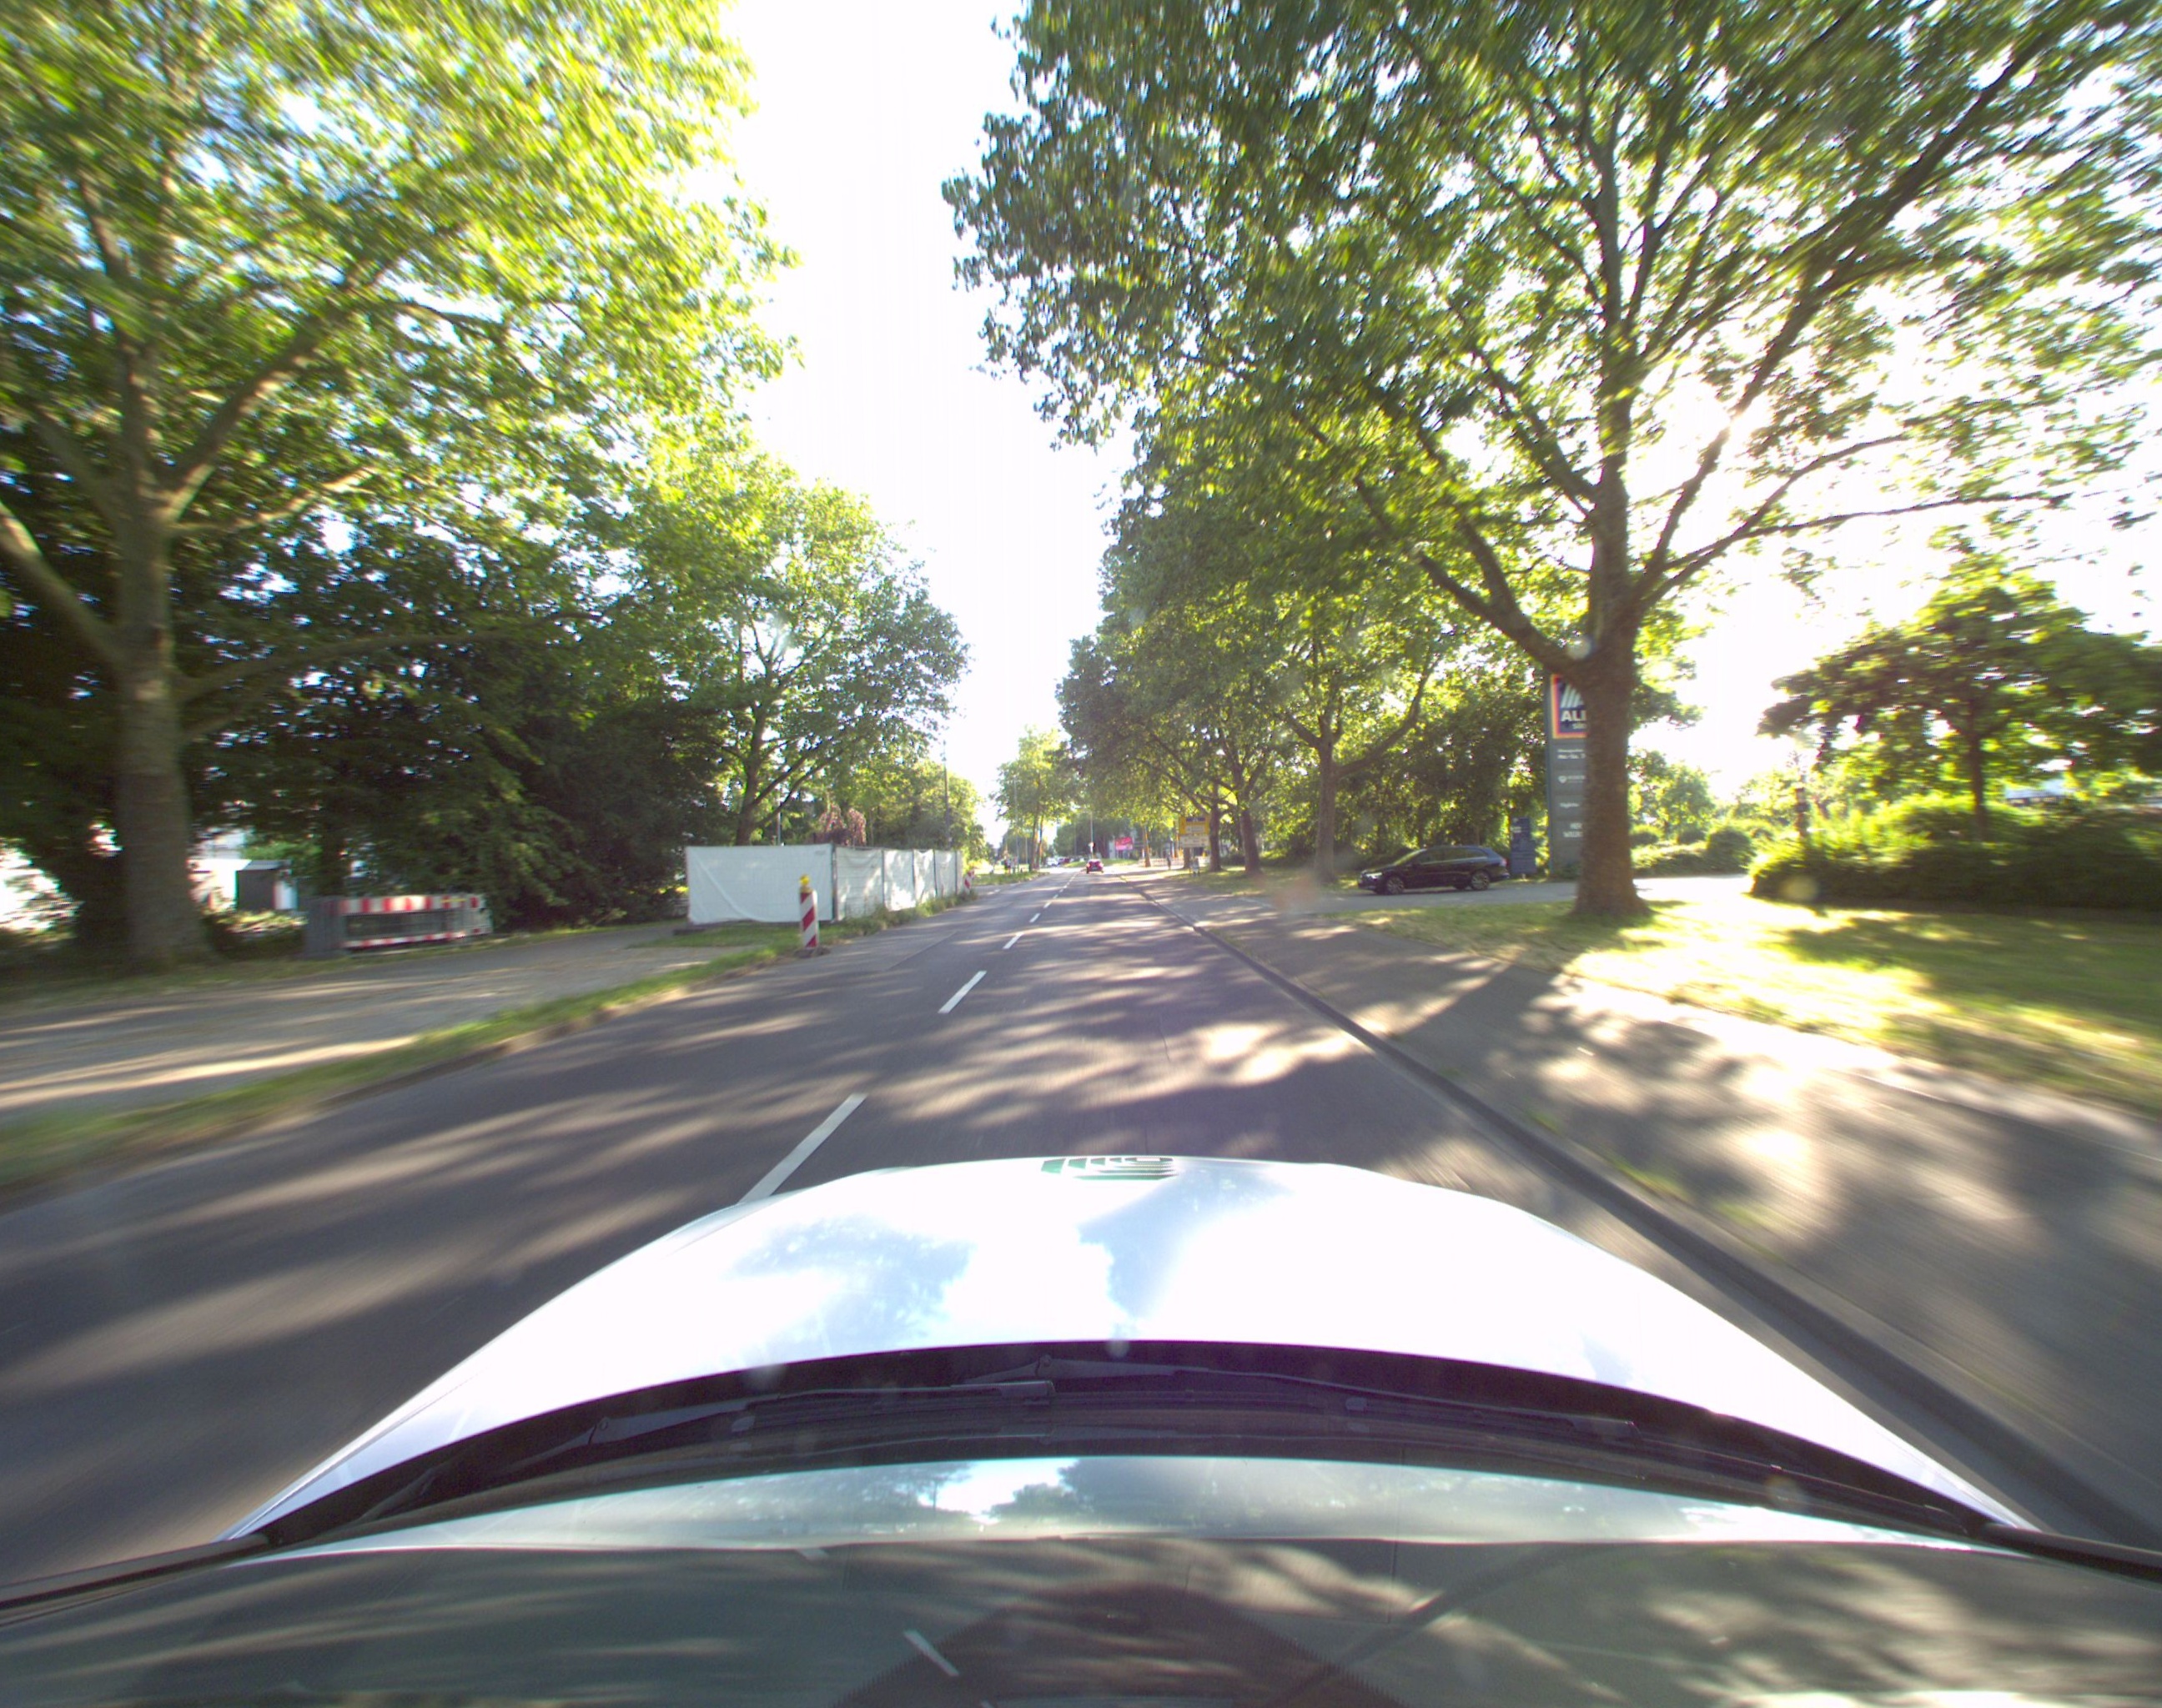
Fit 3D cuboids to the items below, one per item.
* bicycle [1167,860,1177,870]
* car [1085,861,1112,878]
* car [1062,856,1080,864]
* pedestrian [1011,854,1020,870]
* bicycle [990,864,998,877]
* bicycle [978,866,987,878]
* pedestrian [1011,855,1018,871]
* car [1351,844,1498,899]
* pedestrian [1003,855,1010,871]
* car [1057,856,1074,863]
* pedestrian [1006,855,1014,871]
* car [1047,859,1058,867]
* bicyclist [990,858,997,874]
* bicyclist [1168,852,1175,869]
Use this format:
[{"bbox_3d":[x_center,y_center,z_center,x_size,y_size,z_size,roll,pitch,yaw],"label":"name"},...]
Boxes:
[{"bbox_3d":[9.624,1.194,86.009,0.767,0.964,2.174,-5,0,1],"label":"bicycle"},{"bbox_3d":[1.883,1.585,85.328,1.826,1.605,3.878,-3,0,15],"label":"car"},{"bbox_3d":[-2.455,1.416,201.214,4.011,1.746,1.778,-2,1,-29],"label":"car"},{"bbox_3d":[-7.291,0.935,90.777,0.745,1.739,0.852,-3,0,2],"label":"pedestrian"},{"bbox_3d":[-9.197,1.728,85.939,0.577,1.245,2.107,-4,1,0],"label":"bicycle"},{"bbox_3d":[-10.628,1.919,88.037,0.577,1.186,2.032,-8,0,0],"label":"bicycle"},{"bbox_3d":[-7.283,0.992,89.375,0.630,1.637,0.576,-3,0,1],"label":"pedestrian"},{"bbox_3d":[11.037,0.550,26.360,3.970,1.443,1.762,-4,0,3],"label":"car"},{"bbox_3d":[-8.297,1.050,90.767,0.663,1.739,0.752,-3,0,2],"label":"pedestrian"},{"bbox_3d":[-3.849,1.405,203.901,4.011,1.746,1.778,-2,1,-29],"label":"car"},{"bbox_3d":[-7.837,0.960,90.046,0.630,1.739,0.665,-3,0,2],"label":"pedestrian"},{"bbox_3d":[-6.181,1.931,176.703,1.990,1.578,3.993,-3,0,-5],"label":"car"},{"bbox_3d":[-9.227,1.277,85.958,0.577,1.679,0.970,-4,1,0],"label":"bicyclist"},{"bbox_3d":[9.578,0.667,86.106,0.648,1.705,0.872,-2,0,1],"label":"bicyclist"}]
